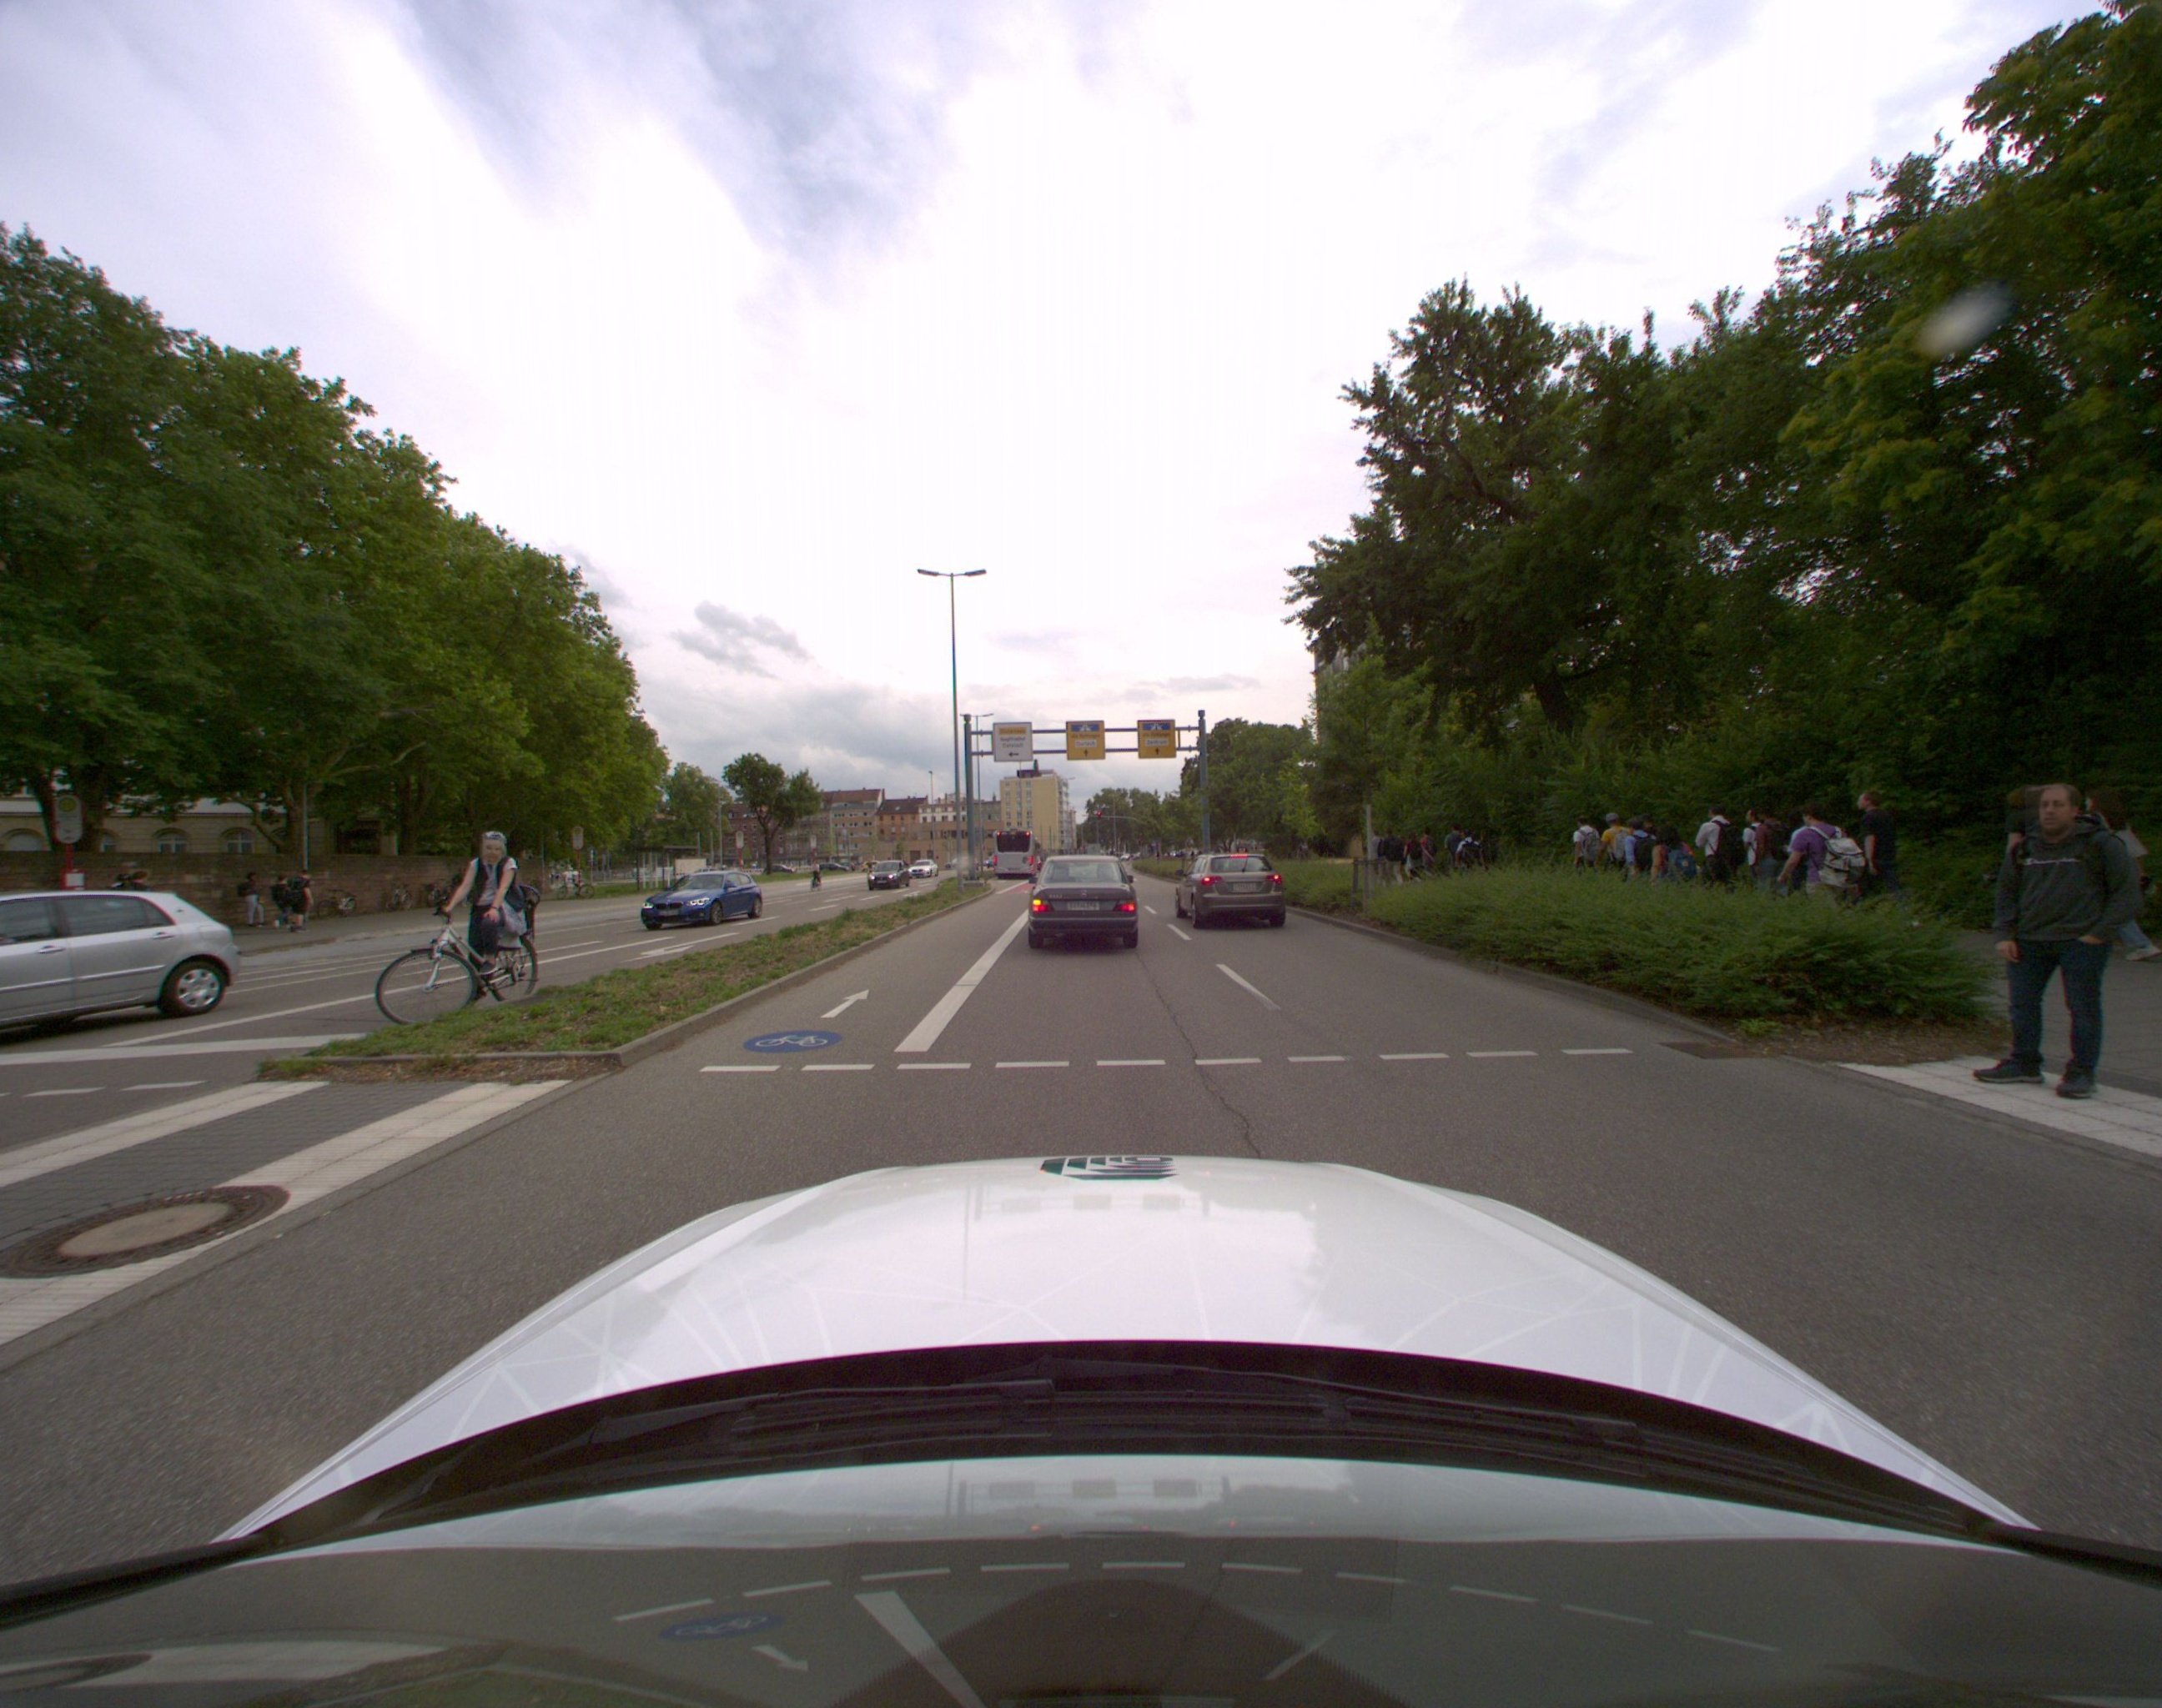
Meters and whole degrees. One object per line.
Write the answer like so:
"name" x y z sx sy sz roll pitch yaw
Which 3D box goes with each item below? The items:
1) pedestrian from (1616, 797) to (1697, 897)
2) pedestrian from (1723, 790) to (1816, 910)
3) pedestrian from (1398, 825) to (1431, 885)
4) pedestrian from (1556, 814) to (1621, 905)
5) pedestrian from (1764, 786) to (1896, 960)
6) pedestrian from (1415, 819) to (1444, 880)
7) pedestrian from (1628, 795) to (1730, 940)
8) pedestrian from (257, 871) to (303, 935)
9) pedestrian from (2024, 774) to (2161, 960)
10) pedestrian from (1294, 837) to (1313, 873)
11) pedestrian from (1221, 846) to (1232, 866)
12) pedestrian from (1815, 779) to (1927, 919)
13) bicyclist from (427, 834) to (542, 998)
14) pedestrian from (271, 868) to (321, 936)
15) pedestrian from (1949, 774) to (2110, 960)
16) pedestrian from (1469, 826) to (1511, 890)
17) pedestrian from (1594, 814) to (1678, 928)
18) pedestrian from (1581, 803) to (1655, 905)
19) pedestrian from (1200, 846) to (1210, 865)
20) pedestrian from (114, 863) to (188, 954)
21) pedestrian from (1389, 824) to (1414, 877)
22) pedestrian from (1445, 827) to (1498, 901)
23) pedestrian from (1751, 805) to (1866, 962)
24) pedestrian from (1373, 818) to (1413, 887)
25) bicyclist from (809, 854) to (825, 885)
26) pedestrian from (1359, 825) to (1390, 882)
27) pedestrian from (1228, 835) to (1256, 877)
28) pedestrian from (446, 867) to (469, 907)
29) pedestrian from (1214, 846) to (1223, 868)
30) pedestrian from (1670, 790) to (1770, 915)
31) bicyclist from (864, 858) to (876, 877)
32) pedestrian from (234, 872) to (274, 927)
"pedestrian" 10.065 -0.125 14.268 0.655 1.667 0.970 -2 0 -3
"pedestrian" 10.222 -0.061 12.119 0.655 1.699 0.779 -2 0 -3
"pedestrian" 9.409 0.021 22.995 0.554 1.655 0.753 -2 0 0
"pedestrian" 10.124 0.104 16.273 0.719 1.744 0.812 -2 0 0
"pedestrian" 7.941 0.191 8.670 0.623 1.745 0.779 -2 0 -3
"pedestrian" 10.184 -0.133 23.815 0.483 1.763 0.664 -2 0 0
"pedestrian" 7.575 0.167 10.347 0.655 1.745 0.779 -2 0 -3
"pedestrian" -23.074 1.393 23.469 0.763 1.782 0.776 -1 -2 -29
"pedestrian" 10.176 0.112 8.092 0.655 1.745 0.779 -2 0 -3
"pedestrian" 10.505 0.040 38.463 0.585 1.682 0.748 -2 0 0
"pedestrian" 10.716 0.133 60.020 0.652 1.470 0.564 -2 0 16
"pedestrian" 10.296 -0.065 10.640 0.655 1.745 0.779 -2 0 -3
"bicyclist" -5.991 0.599 8.209 0.569 1.574 0.700 -2 0 3
"pedestrian" -21.428 1.290 22.234 0.763 1.782 0.915 -1 -2 -29
"pedestrian" 9.481 0.121 8.173 0.655 1.745 0.779 -2 0 -3
"pedestrian" 10.511 0.093 20.956 0.633 1.583 0.785 -2 0 0
"pedestrian" 8.355 0.246 12.287 0.655 1.648 0.811 -2 0 -3
"pedestrian" 9.279 -0.008 14.106 0.655 1.689 0.841 -2 0 -3
"pedestrian" 11.486 0.121 75.137 0.796 1.713 0.767 -2 0 12
"pedestrian" -19.130 1.104 16.770 0.762 1.782 0.716 -1 -2 -24
"pedestrian" 10.157 -0.103 25.792 0.466 1.633 0.653 -2 0 0
"pedestrian" 8.831 0.224 18.450 0.773 1.602 0.812 -2 0 0
"pedestrian" 8.515 0.327 9.561 0.580 1.745 0.789 -2 0 -3
"pedestrian" 8.534 -0.051 22.307 0.690 1.821 0.954 -2 0 0
"bicyclist" -15.668 0.892 48.312 0.615 1.782 0.812 -2 0 4
"pedestrian" 9.203 -0.009 25.527 0.617 1.735 0.814 -2 0 0
"pedestrian" 7.240 0.101 36.600 0.925 1.830 0.892 -2 0 27
"pedestrian" -26.240 1.377 34.297 0.561 1.668 0.623 -1 -2 -17
"pedestrian" 10.964 0.251 64.882 0.642 1.713 0.564 -2 0 14
"pedestrian" 9.491 -0.019 12.137 0.655 1.766 0.957 -3 0 -3
"bicyclist" -15.747 0.992 60.890 0.577 1.419 0.812 -2 0 4
"pedestrian" -24.401 1.335 24.034 0.588 1.592 0.730 -1 -2 -23
